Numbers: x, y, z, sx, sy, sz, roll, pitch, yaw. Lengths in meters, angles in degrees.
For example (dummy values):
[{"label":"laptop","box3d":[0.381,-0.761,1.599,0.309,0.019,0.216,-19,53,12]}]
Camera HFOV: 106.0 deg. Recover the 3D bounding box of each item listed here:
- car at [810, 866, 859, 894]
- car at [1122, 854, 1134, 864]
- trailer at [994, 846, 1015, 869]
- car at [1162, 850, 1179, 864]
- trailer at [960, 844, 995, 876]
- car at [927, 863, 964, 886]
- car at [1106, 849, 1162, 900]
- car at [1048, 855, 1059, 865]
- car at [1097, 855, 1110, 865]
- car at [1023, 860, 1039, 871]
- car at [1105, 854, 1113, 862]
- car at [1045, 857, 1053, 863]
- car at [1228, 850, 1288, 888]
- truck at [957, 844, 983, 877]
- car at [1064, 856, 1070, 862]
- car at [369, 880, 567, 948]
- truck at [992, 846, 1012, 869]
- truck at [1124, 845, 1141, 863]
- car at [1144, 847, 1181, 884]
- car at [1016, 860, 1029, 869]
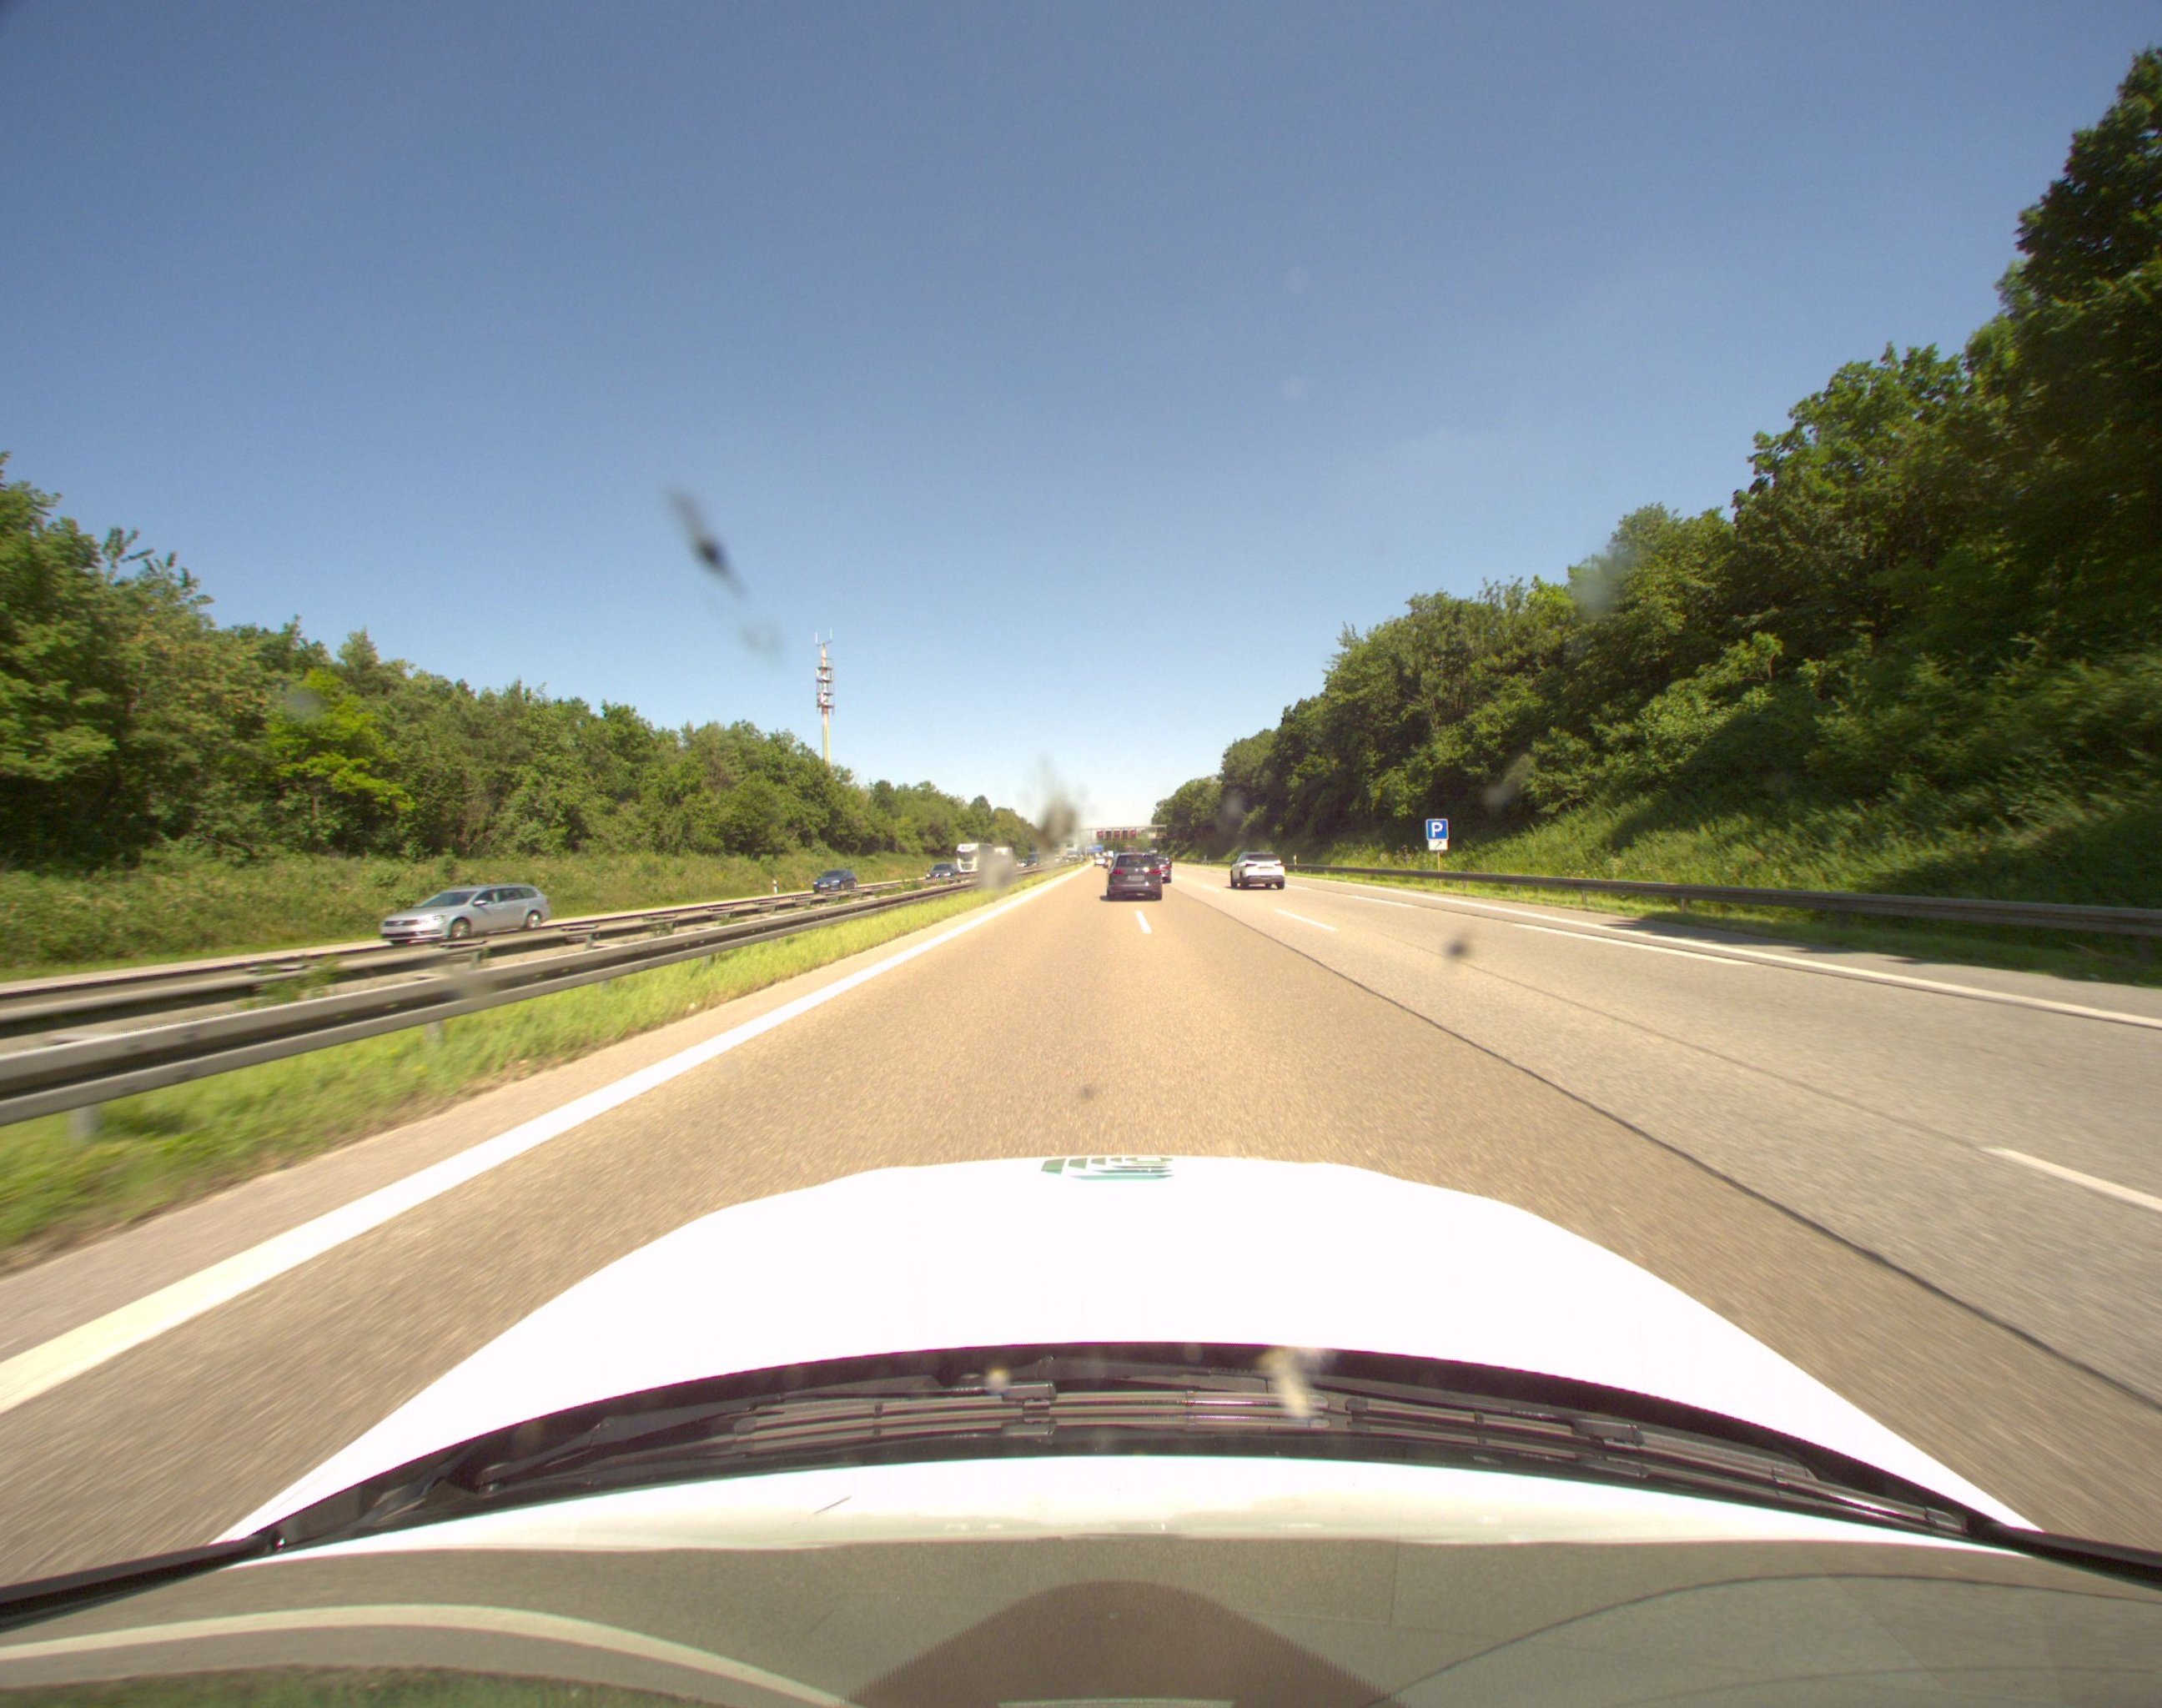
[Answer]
[{"label":"car","box3d":[-15.581,1.615,51.775,1.589,1.568,4.370,-4,0,1]},{"label":"car","box3d":[7.097,0.757,123.450,1.757,1.381,4.262,0,0,3]},{"label":"trailer","box3d":[-13.594,0.617,145.519,2.702,3.809,7.694,-4,0,1]},{"label":"car","box3d":[10.580,0.373,96.680,1.757,1.568,4.262,0,0,3]},{"label":"trailer","box3d":[-14.545,0.832,115.733,2.605,4.058,14.173,-4,0,2]},{"label":"car","box3d":[-8.971,1.355,54.211,1.480,1.356,4.419,-3,0,2]},{"label":"car","box3d":[1.846,0.679,28.697,1.792,1.669,4.262,0,0,3]},{"label":"car","box3d":[-5.618,1.195,166.706,1.921,1.981,5.236,-4,0,1]},{"label":"car","box3d":[3.402,0.933,123.663,1.757,1.568,4.262,0,0,3]},{"label":"car","box3d":[-6.928,1.600,113.091,1.800,1.405,4.820,-3,0,2]},{"label":"car","box3d":[6.829,0.909,198.854,1.986,2.013,4.001,0,0,1]},{"label":"car","box3d":[-7.804,1.453,200.582,1.669,1.496,3.545,-2,0,1]},{"label":"car","box3d":[7.683,0.614,35.657,1.837,1.568,4.036,0,0,1]},{"label":"truck","box3d":[-14.783,0.838,108.503,2.605,4.058,4.001,-4,0,1]},{"label":"car","box3d":[-3.720,1.240,215.024,1.428,1.528,3.458,-2,0,1]},{"label":"car","box3d":[-17.151,1.604,23.173,1.622,1.492,4.944,-4,0,2]},{"label":"truck","box3d":[-13.686,0.660,141.206,2.693,3.809,4.001,-4,0,1]},{"label":"truck","box3d":[13.321,-0.051,211.589,3.767,4.422,14.050,-1,0,1]},{"label":"car","box3d":[4.474,0.597,45.221,1.659,1.876,4.829,-2,0,2]},{"label":"car","box3d":[-9.723,1.698,135.181,1.707,1.418,4.505,-2,0,1]}]
